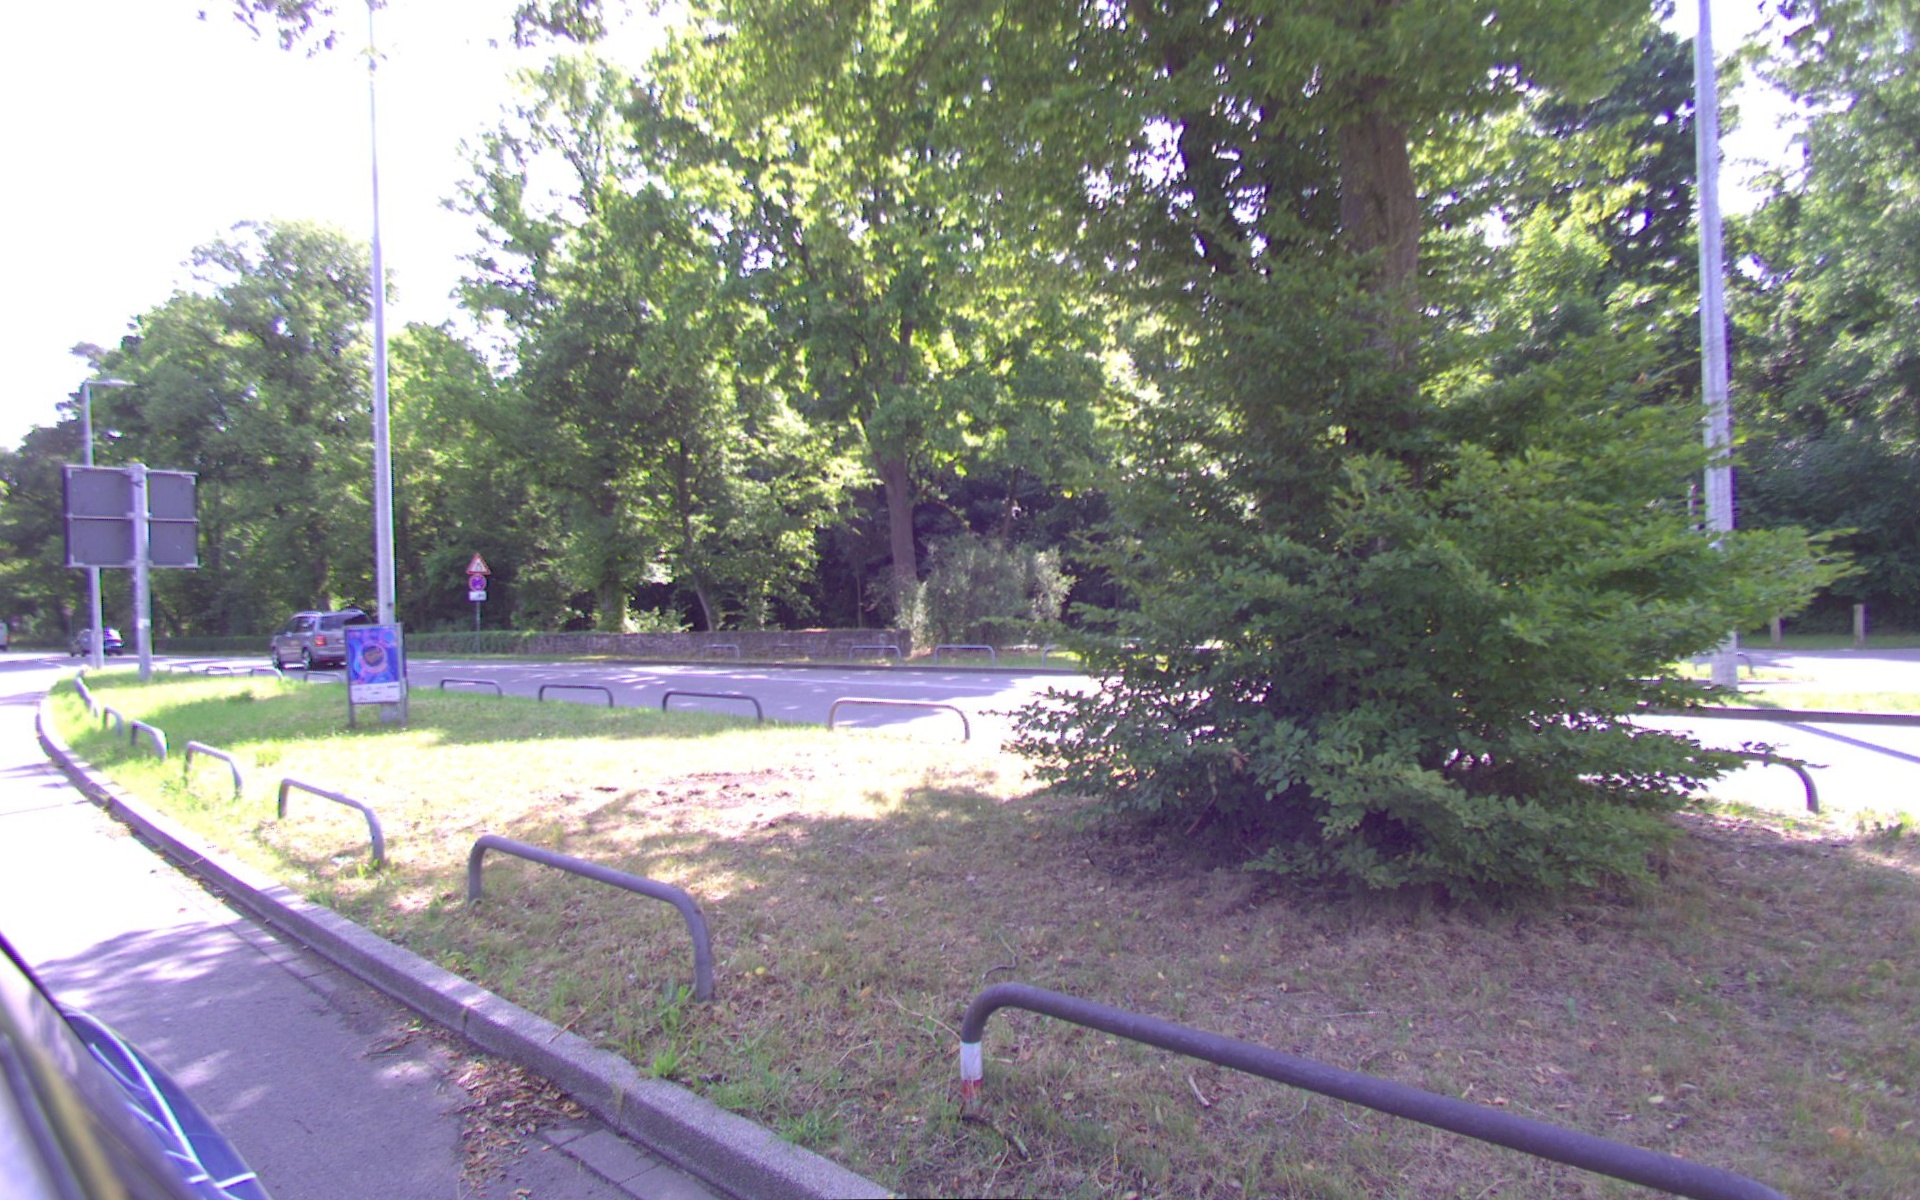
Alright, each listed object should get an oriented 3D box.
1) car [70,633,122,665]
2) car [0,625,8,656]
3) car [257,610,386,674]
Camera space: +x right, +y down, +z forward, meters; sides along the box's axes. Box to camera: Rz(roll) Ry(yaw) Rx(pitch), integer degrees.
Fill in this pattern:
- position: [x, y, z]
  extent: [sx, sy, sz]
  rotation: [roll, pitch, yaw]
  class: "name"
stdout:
- position: [-45.688, 2.546, 53.506]
  extent: [4.068, 1.457, 1.676]
  rotation: [-1, 2, 44]
  class: "car"
- position: [-78.754, 3.274, 81.682]
  extent: [5.356, 2.449, 1.956]
  rotation: [-1, 2, 38]
  class: "car"
- position: [-18.651, 1.211, 29.500]
  extent: [4.293, 1.642, 1.745]
  rotation: [-2, 1, 38]
  class: "car"
